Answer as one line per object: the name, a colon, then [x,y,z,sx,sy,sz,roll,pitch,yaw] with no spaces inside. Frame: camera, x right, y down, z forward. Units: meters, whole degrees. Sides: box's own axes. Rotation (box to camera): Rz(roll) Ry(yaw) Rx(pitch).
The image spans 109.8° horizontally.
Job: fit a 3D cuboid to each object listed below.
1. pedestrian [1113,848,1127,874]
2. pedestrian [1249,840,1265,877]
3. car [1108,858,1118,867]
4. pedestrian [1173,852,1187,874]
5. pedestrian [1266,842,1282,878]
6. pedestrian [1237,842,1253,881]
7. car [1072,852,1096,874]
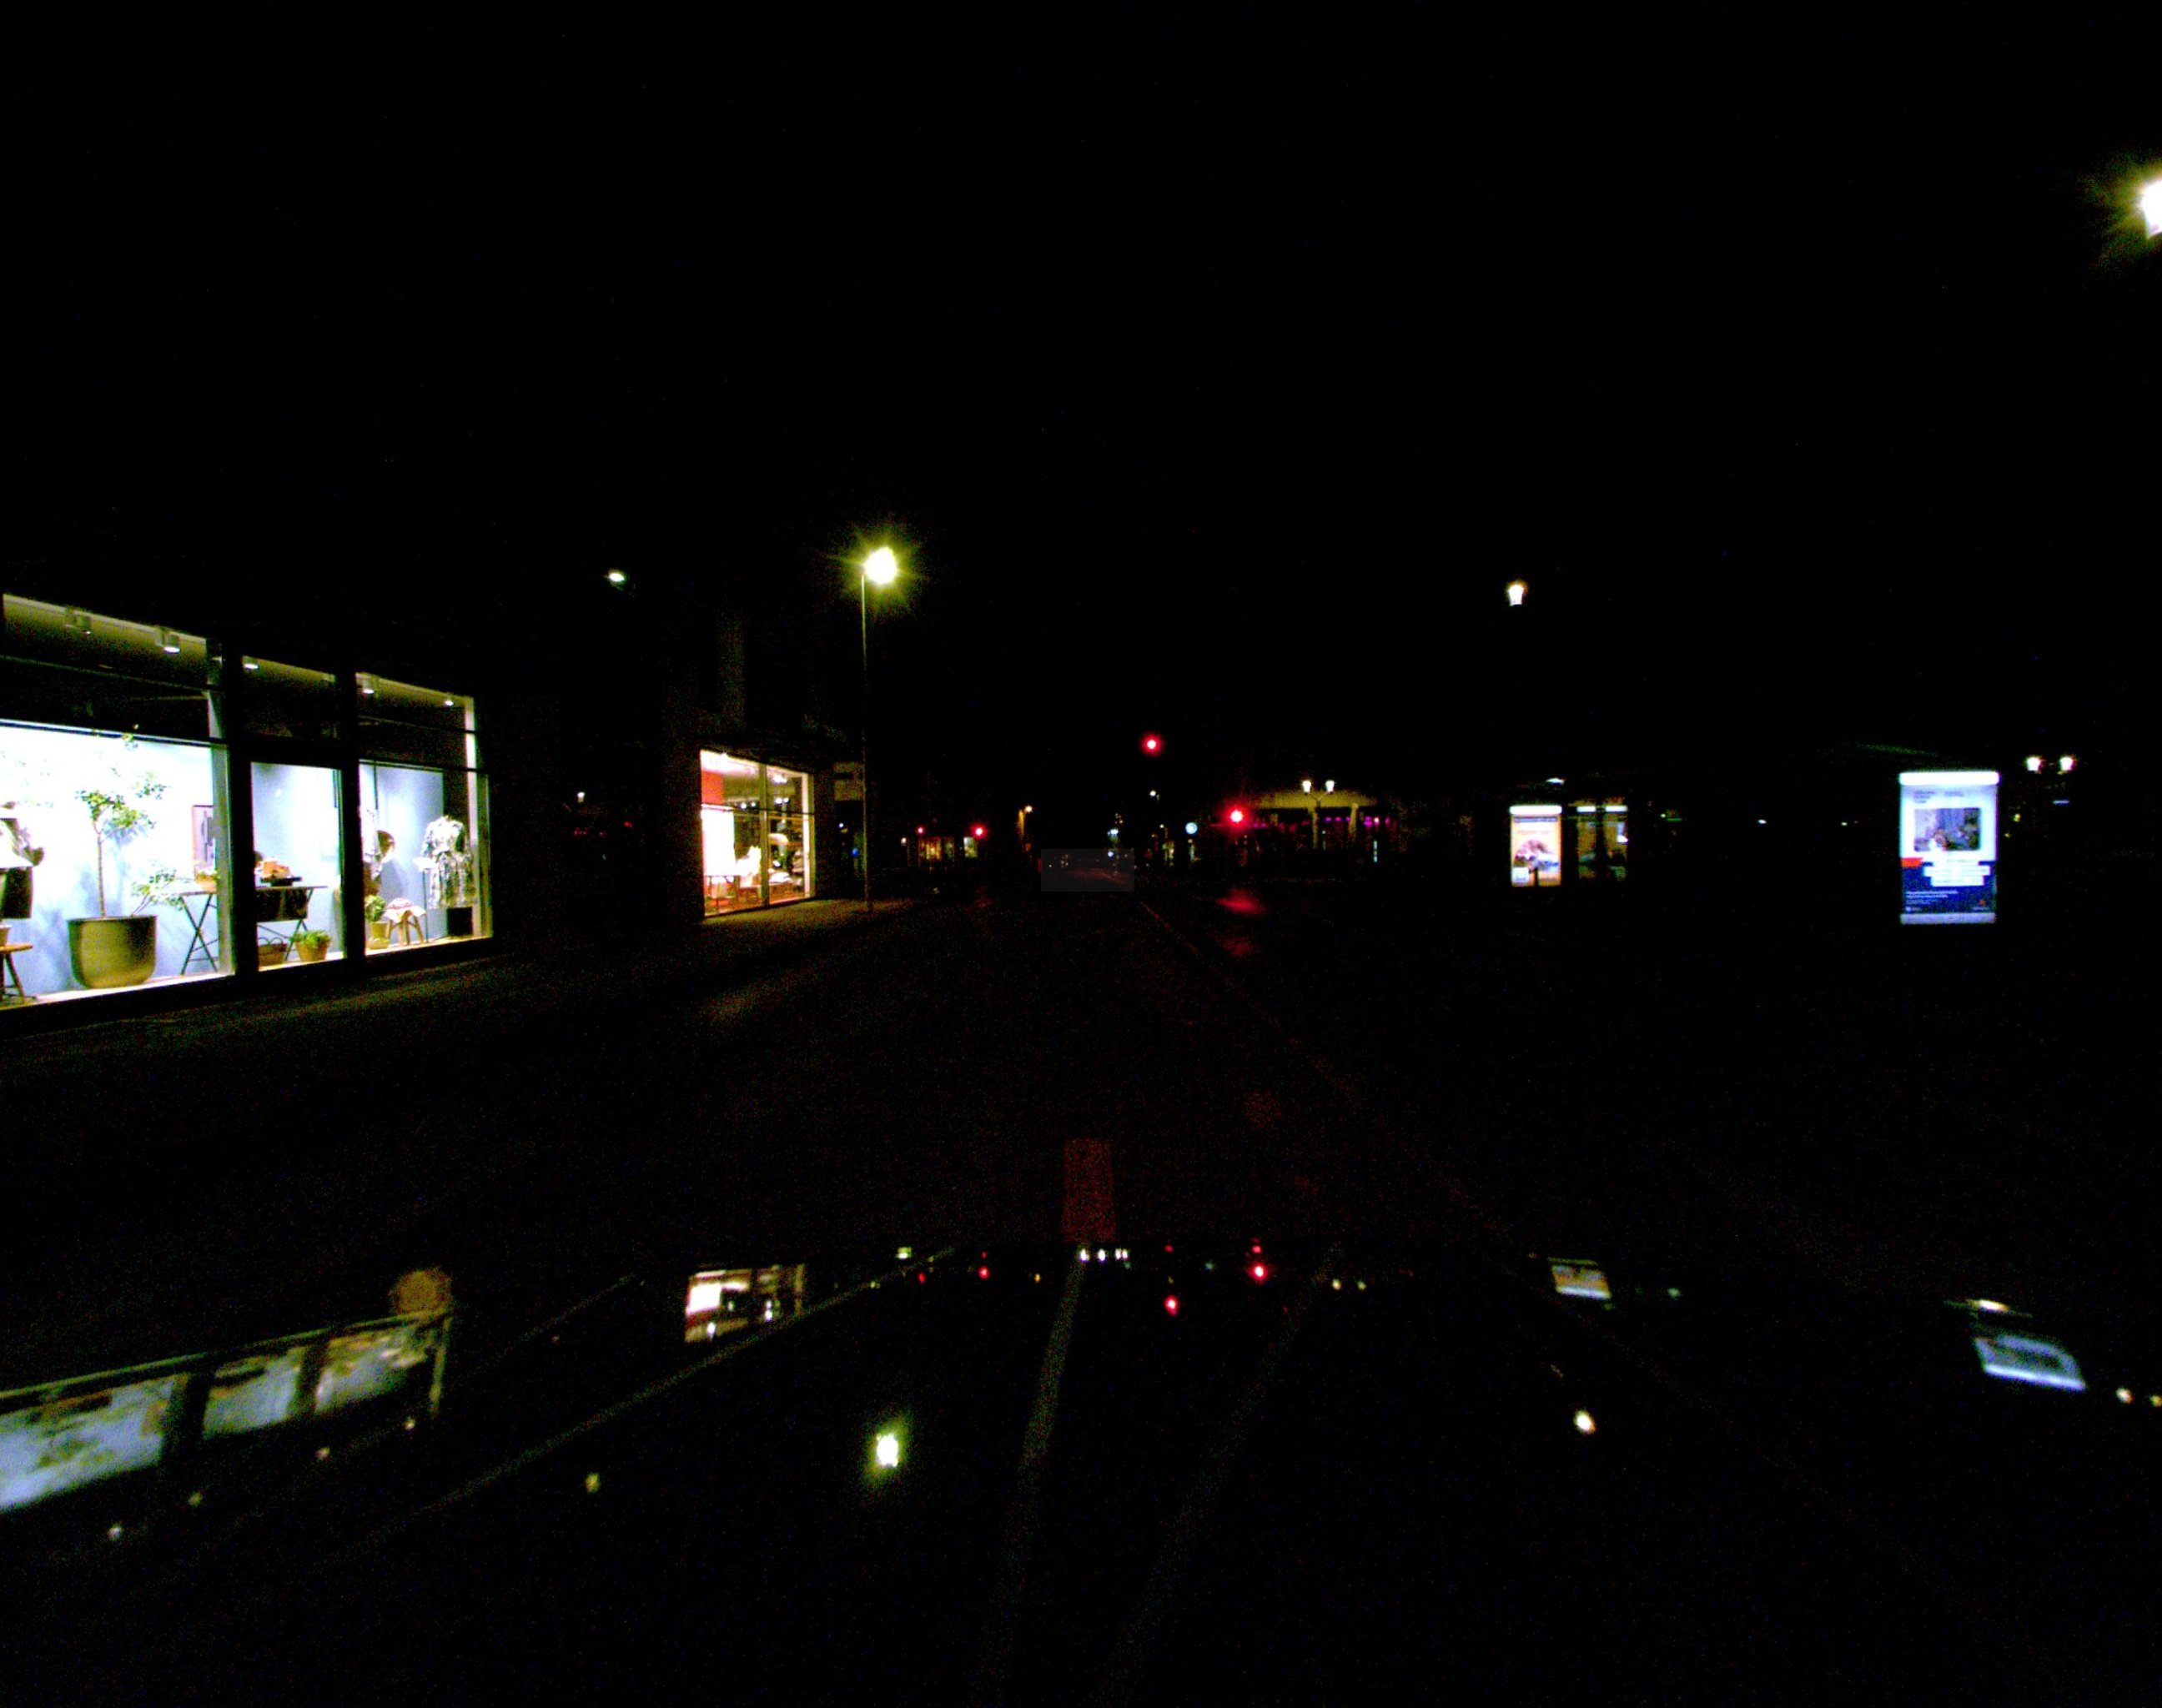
pedestrian: [2.619,0.486,50.866,0.877,1.723,0.647,0,1,4]
pedestrian: [8.045,0.191,34.746,0.582,1.672,0.648,-2,1,23]
car: [6.814,1.826,162.657,1.879,1.718,3.999,-2,1,1]
pedestrian: [6.630,0.583,51.078,0.828,1.487,0.648,0,1,17]
pedestrian: [8.753,0.273,34.478,0.582,1.619,0.648,-2,1,23]
pedestrian: [7.175,0.321,33.284,0.539,1.672,0.648,-2,1,23]
car: [0.289,0.687,61.955,1.713,1.660,3.738,-2,1,3]
